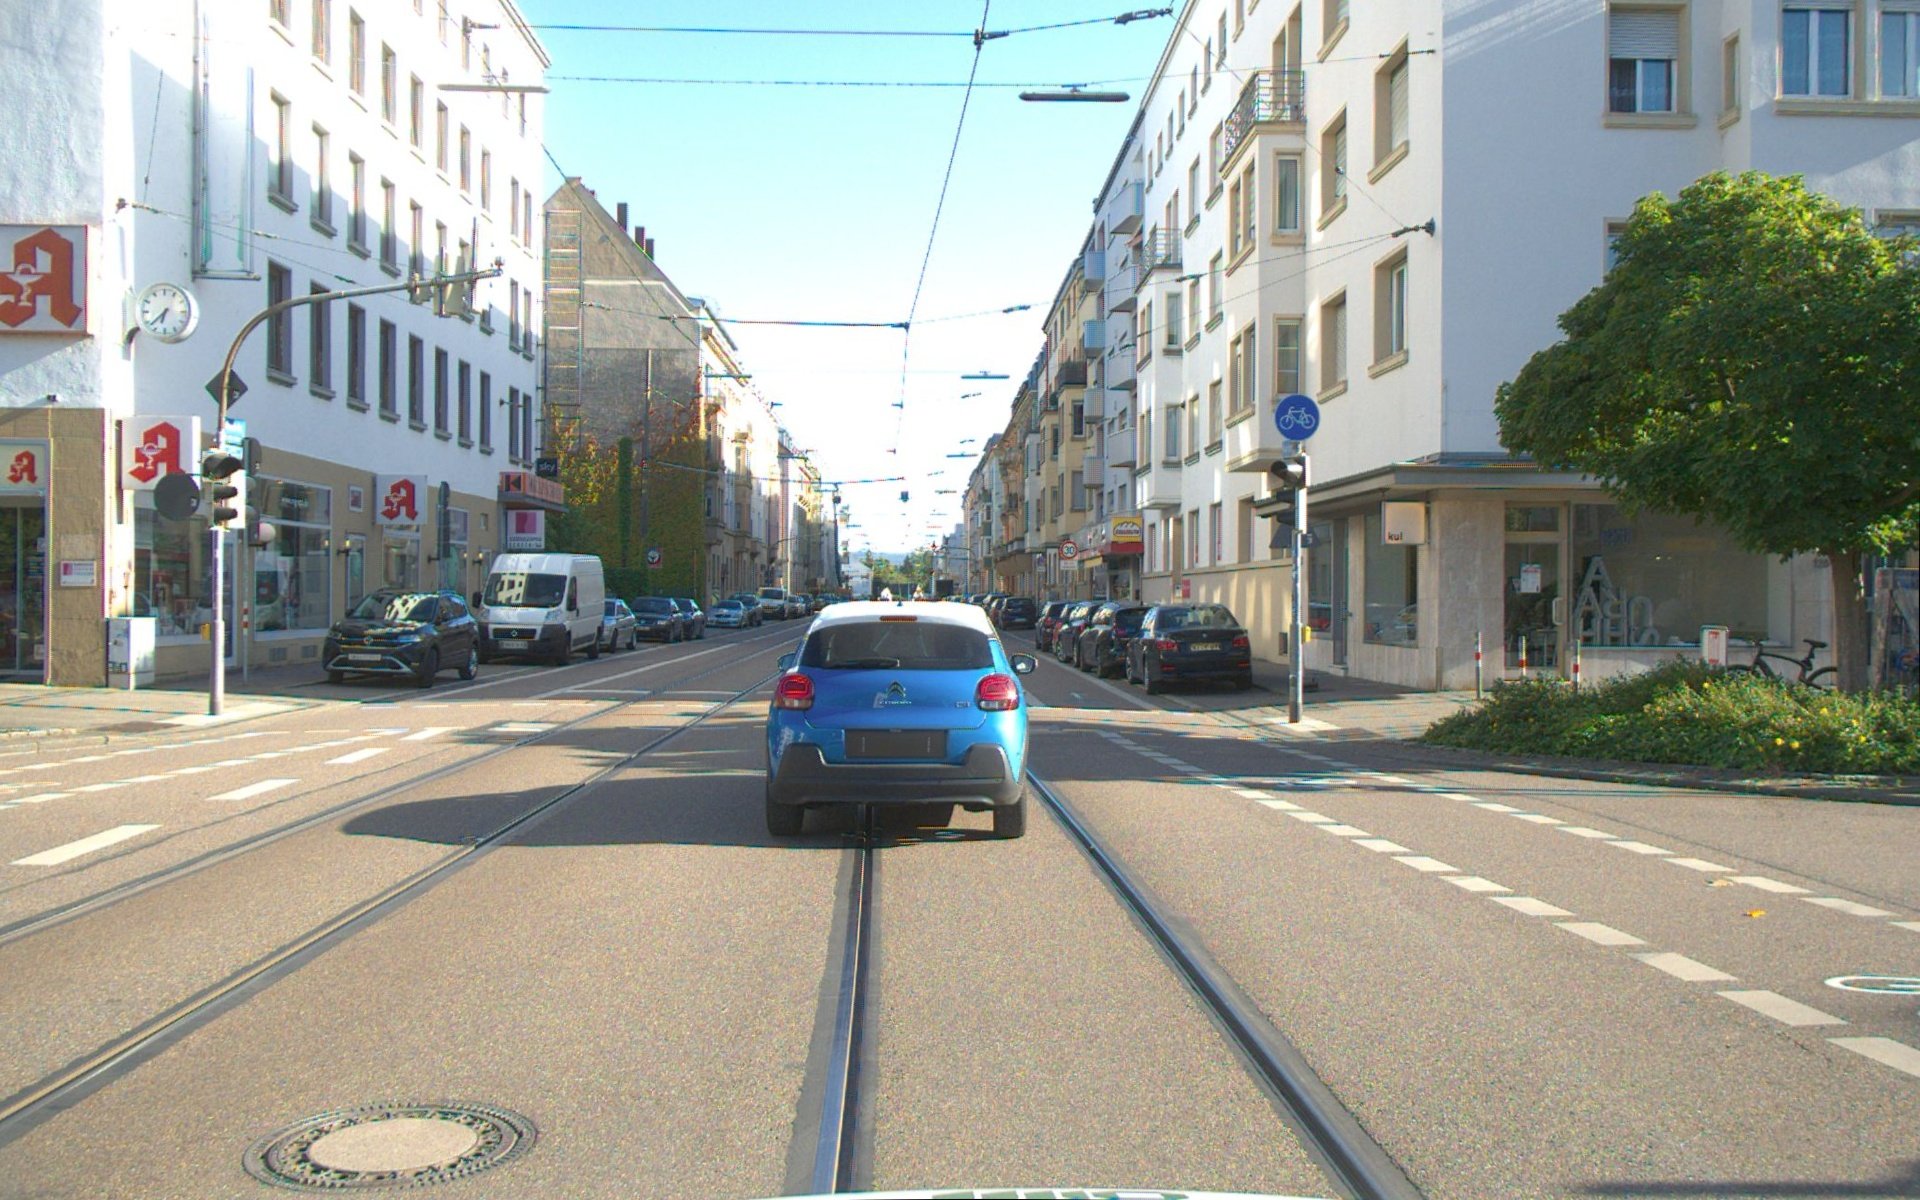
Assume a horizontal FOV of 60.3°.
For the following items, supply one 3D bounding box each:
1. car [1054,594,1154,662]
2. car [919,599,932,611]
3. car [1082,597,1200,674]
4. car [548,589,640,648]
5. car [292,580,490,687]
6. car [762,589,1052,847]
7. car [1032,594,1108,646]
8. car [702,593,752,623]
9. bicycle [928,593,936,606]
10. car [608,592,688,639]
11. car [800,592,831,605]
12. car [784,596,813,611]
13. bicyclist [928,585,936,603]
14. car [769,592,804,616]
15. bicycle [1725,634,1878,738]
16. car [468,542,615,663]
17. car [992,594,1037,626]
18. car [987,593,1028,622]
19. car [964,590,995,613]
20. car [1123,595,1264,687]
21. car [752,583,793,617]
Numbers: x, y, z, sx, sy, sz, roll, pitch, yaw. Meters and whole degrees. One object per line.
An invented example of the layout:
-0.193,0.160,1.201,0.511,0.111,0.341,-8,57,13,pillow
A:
3.334,0.625,38.975,1.953,1.527,3.999,0,0,-1,car
-5.331,0.803,253.165,1.953,1.803,3.999,0,0,-1,car
3.663,0.679,34.041,1.953,1.489,3.999,0,0,-1,car
-10.020,0.505,45.502,1.850,1.522,3.560,1,0,-2,car
-9.626,0.543,28.376,1.954,1.596,4.401,3,0,-2,car
-0.361,0.698,11.756,1.693,1.508,3.826,1,0,-2,car
3.238,0.565,49.210,1.953,1.489,3.999,0,0,-1,car
-11.143,0.393,79.205,1.953,1.348,3.921,1,0,-2,car
-3.224,-0.073,191.424,0.901,1.413,3.132,0,0,1,bicycle
-10.141,0.498,54.093,1.953,1.422,4.155,1,0,-2,car
-14.018,-0.157,160.695,1.951,1.176,4.518,0,0,8,car
-12.656,0.243,130.068,1.953,1.176,3.999,0,0,-1,car
-3.204,-0.658,191.484,0.792,2.049,0.923,1,-1,3,bicyclist
-11.785,0.293,112.478,1.915,1.579,3.938,1,0,1,car
9.667,0.980,19.025,1.534,1.140,0.300,1,-1,10,bicycle
-9.655,0.050,38.738,2.044,2.586,6.202,1,0,-2,car
2.546,0.451,78.157,1.953,1.489,4.504,0,0,-1,car
2.425,0.388,85.729,1.953,1.489,3.999,0,0,-1,car
1.257,0.075,109.183,1.953,1.489,3.999,0,0,-1,car
3.995,0.670,28.904,1.871,1.489,3.999,0,0,-1,car
-11.626,0.033,102.866,1.965,2.049,4.689,1,0,0,car
